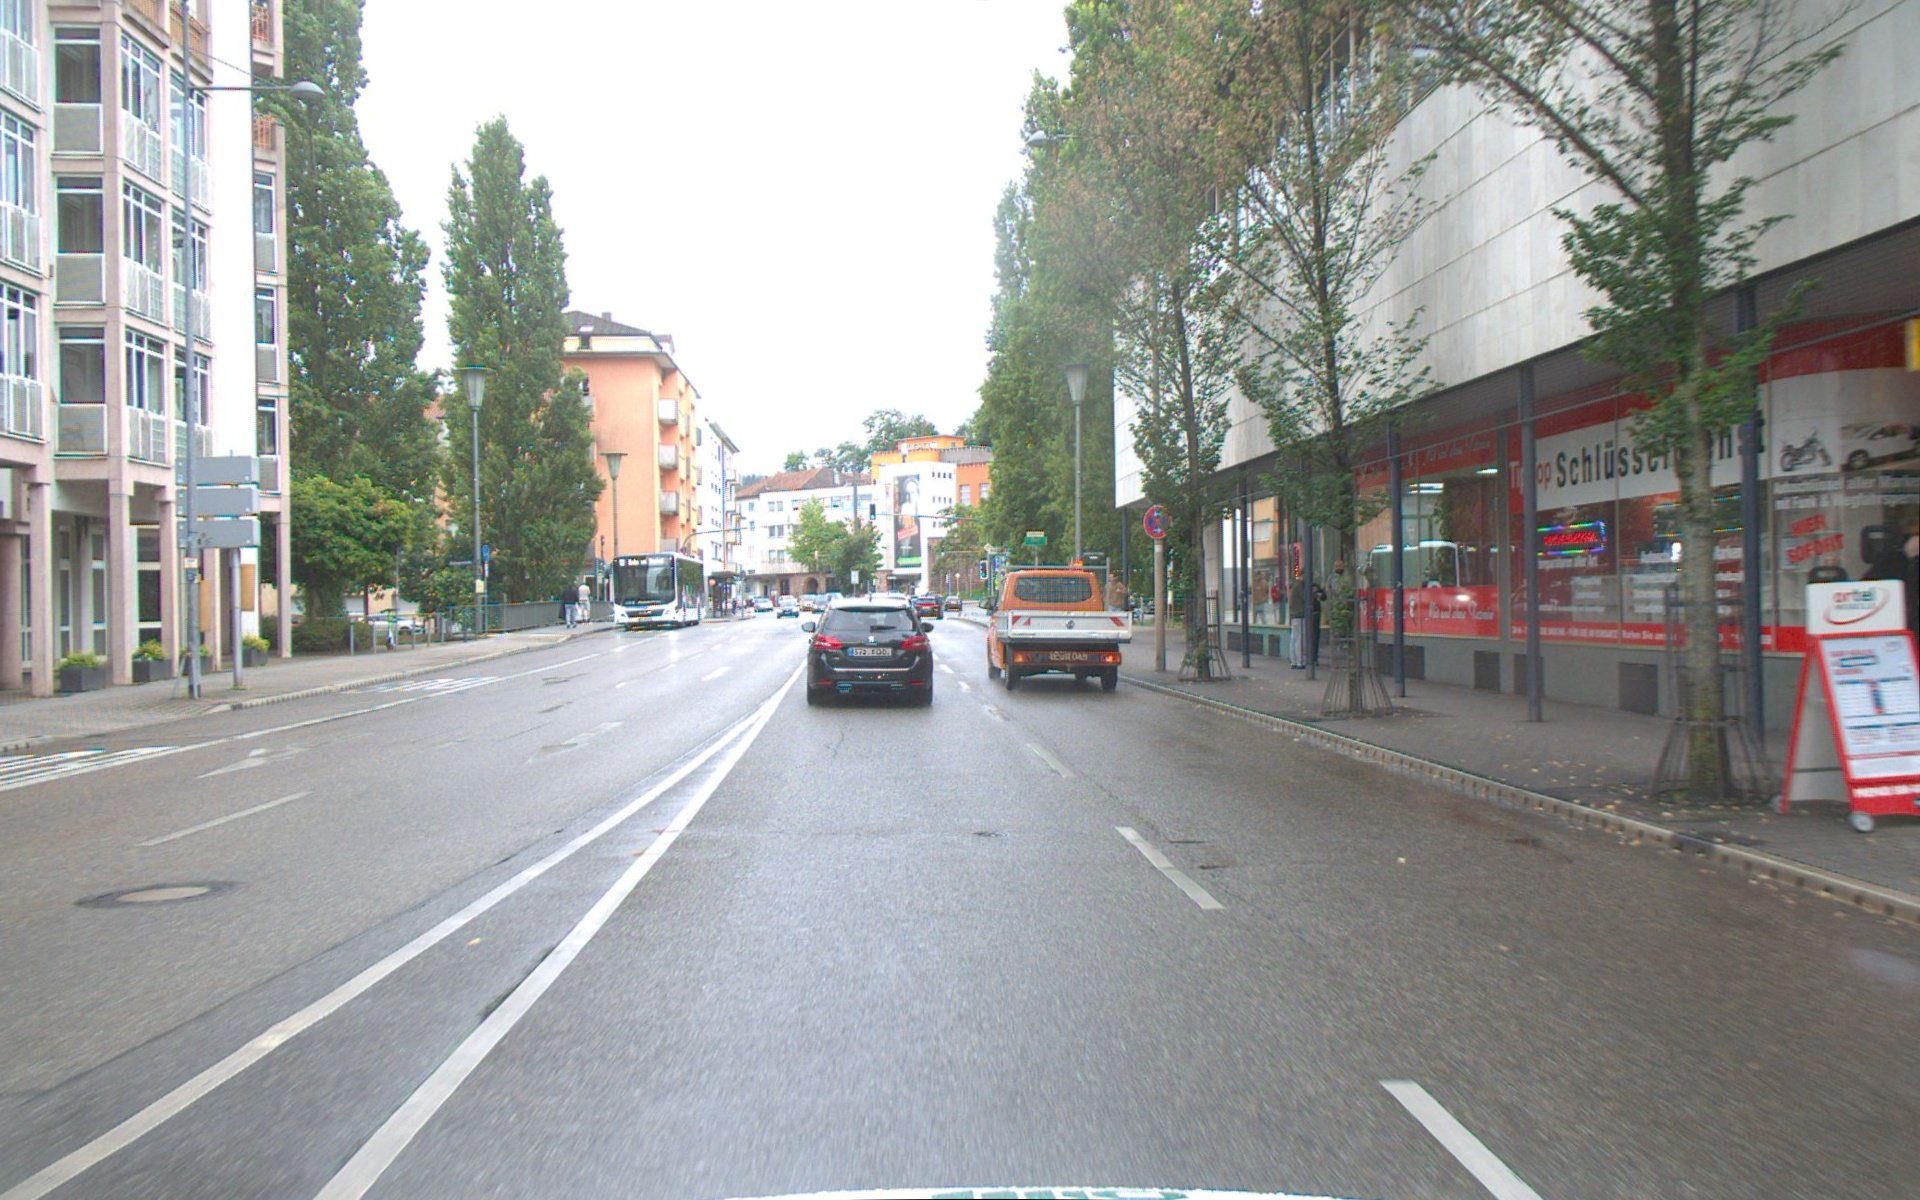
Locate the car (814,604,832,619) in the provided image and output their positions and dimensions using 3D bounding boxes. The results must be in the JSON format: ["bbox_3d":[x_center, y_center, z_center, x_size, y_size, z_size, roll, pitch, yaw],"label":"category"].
[{"bbox_3d":[-13.422,1.113,161.731,1.632,1.424,3.873,-2,0,-4],"label":"car"}]

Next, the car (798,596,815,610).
[{"bbox_3d":[-16.378,0.363,176.568,1.632,1.424,3.873,-2,0,-4],"label":"car"}]

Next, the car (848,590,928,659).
[{"bbox_3d":[-1.653,0.549,39.112,1.758,1.509,3.999,-1,0,-1],"label":"car"}]

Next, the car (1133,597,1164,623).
[{"bbox_3d":[16.033,0.849,140.699,1.866,2.049,3.721,2,-2,-6],"label":"car"}]

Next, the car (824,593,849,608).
[{"bbox_3d":[-14.174,0.090,189.730,1.626,1.592,3.567,3,-3,-28],"label":"car"}]

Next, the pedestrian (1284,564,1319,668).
[{"bbox_3d":[6.188,0.285,29.943,0.525,1.852,0.535,-1,0,5],"label":"pedestrian"}]

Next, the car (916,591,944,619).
[{"bbox_3d":[-1.951,0.328,105.484,1.612,1.592,3.597,2,-2,-3],"label":"car"}]

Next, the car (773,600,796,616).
[{"bbox_3d":[-15.215,0.662,143.618,1.756,1.348,4.403,-1,0,-4],"label":"car"}]

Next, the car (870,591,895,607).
[{"bbox_3d":[-8.550,-0.144,182.149,1.961,1.713,3.983,-1,0,-16],"label":"car"}]

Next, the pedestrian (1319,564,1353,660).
[{"bbox_3d":[6.982,0.218,30.721,0.525,1.749,0.535,-1,0,7],"label":"pedestrian"}]

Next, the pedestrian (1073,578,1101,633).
[{"bbox_3d":[3.899,0.168,50.778,0.703,1.648,0.769,-2,0,-4],"label":"pedestrian"}]

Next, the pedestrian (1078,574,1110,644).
[{"bbox_3d":[3.534,0.225,43.738,0.640,1.798,0.922,-2,0,-4],"label":"pedestrian"}]

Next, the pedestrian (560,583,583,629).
[{"bbox_3d":[-15.317,0.243,65.150,0.684,1.825,0.958,0,-1,0],"label":"pedestrian"}]

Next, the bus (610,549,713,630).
[{"bbox_3d":[-12.517,-0.562,70.474,2.689,3.129,12.232,-1,1,-3],"label":"bus"}]

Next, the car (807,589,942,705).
[{"bbox_3d":[-1.156,0.650,23.907,1.758,1.509,3.999,1,-1,-1],"label":"car"}]

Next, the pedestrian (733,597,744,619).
[{"bbox_3d":[-21.163,0.773,157.962,0.720,2.049,0.649,3,-3,-36],"label":"pedestrian"}]

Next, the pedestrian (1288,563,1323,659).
[{"bbox_3d":[6.383,0.194,30.579,0.525,1.749,0.535,-1,0,5],"label":"pedestrian"}]

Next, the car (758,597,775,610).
[{"bbox_3d":[-21.544,0.399,184.650,1.632,1.424,3.873,-2,0,-4],"label":"car"}]

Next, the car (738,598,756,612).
[{"bbox_3d":[-25.774,0.586,200.453,1.957,1.713,3.991,-1,0,-10],"label":"car"}]

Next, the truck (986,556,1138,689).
[{"bbox_3d":[1.628,0.389,28.103,2.079,2.061,4.713,0,-1,-3],"label":"truck"}]

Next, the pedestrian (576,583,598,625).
[{"bbox_3d":[-16.167,0.179,71.699,0.781,1.825,0.812,0,-1,-1],"label":"pedestrian"}]

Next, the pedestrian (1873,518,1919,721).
[{"bbox_3d":[7.624,0.148,13.224,0.423,1.593,0.506,-2,0,43],"label":"pedestrian"}]

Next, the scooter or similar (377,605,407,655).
[{"bbox_3d":[-16.484,0.857,47.990,0.472,1.336,1.570,-1,2,-7],"label":"scooter or similar"}]

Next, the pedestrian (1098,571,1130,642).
[{"bbox_3d":[4.076,0.177,43.694,0.684,1.833,0.606,-2,0,-4],"label":"pedestrian"}]

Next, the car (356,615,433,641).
[{"bbox_3d":[-33.728,1.662,98.658,3.907,1.412,1.898,-2,0,-3],"label":"car"}]
